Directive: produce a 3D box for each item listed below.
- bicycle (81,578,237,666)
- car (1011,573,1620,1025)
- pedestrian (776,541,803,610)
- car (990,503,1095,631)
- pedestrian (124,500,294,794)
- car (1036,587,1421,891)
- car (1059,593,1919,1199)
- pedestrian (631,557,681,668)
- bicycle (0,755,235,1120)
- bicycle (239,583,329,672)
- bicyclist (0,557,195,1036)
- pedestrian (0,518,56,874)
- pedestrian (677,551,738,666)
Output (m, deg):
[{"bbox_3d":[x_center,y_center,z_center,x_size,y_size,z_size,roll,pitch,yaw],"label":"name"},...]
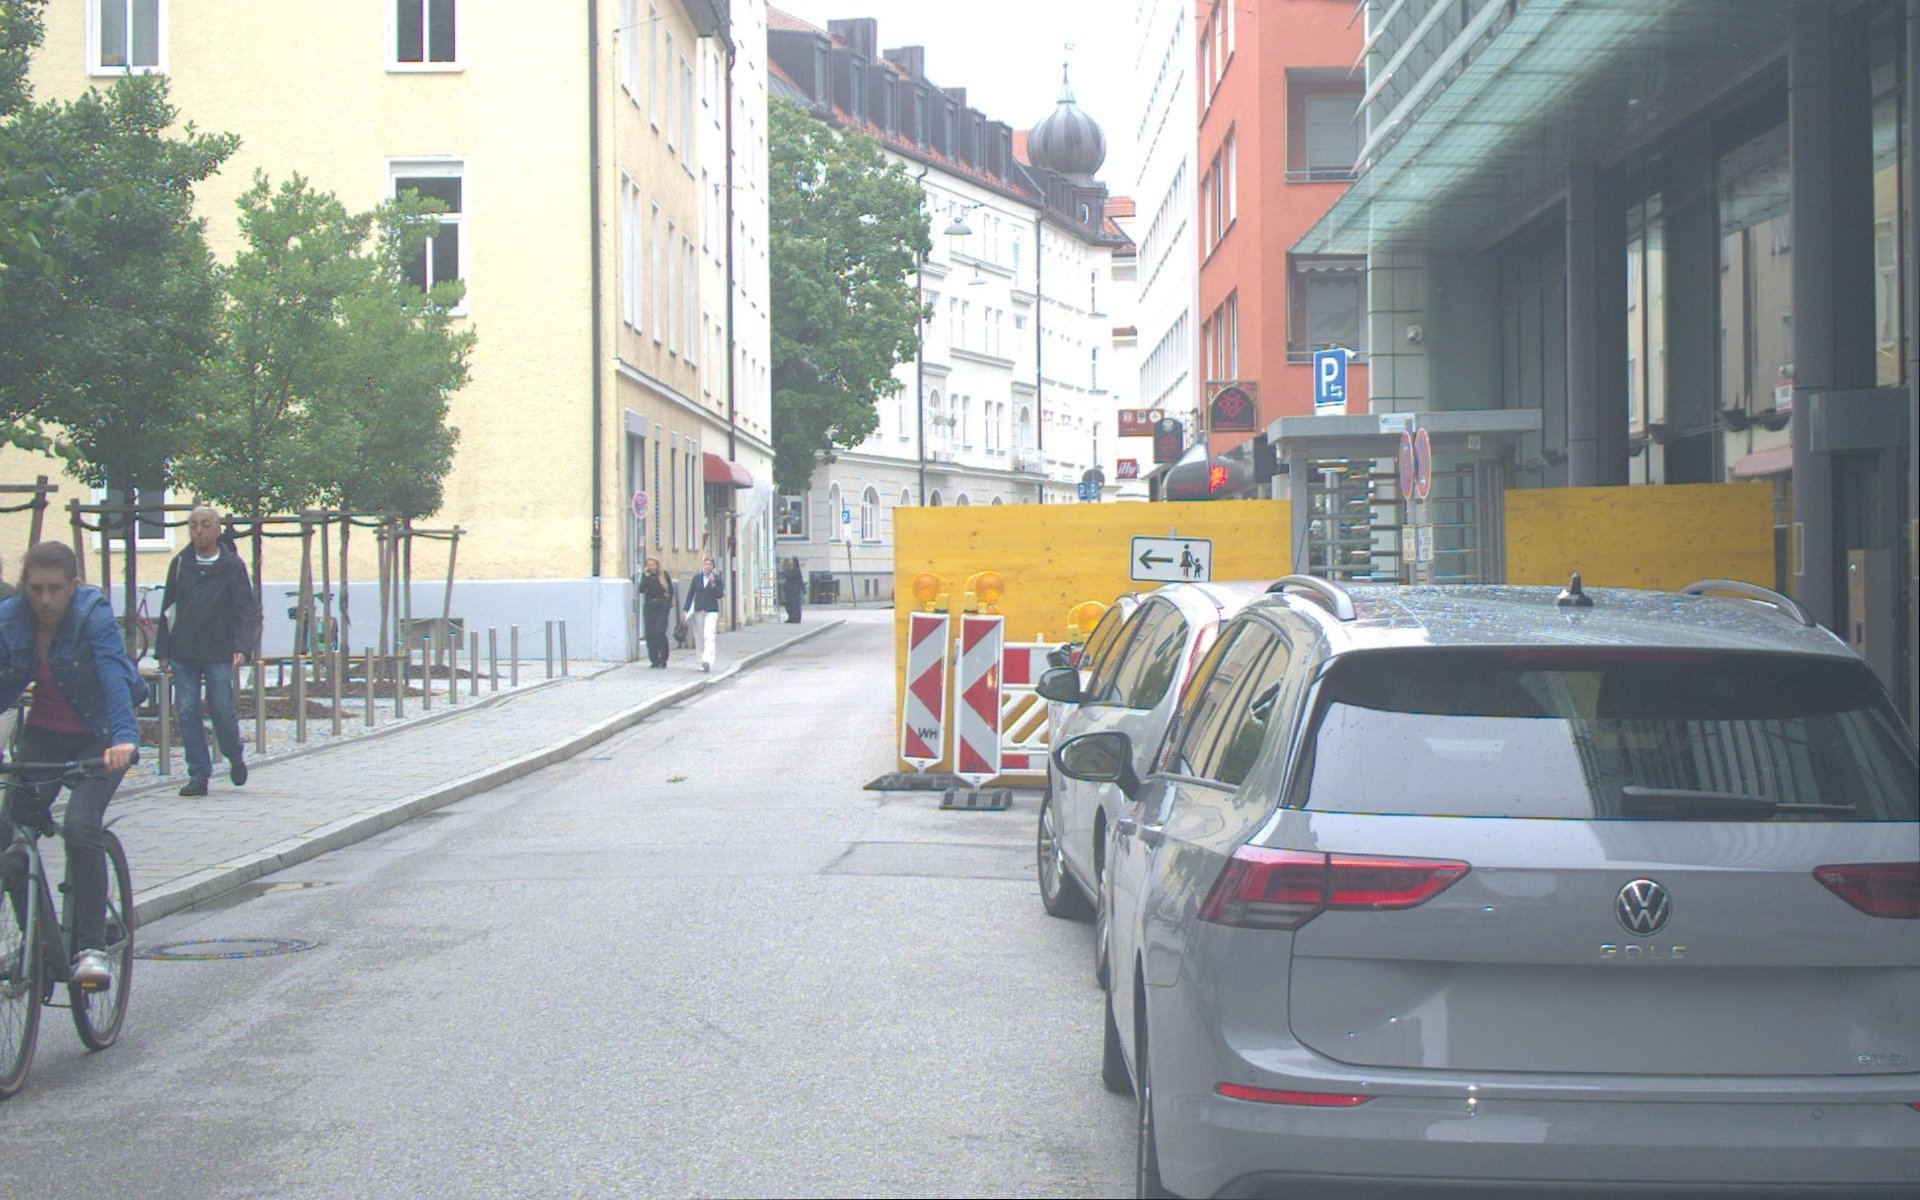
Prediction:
[{"bbox_3d":[-11.132,0.298,47.786,2.044,1.193,0.570,0,1,8],"label":"bicycle"},{"bbox_3d":[1.209,0.648,13.465,1.707,1.462,4.237,1,0,-3],"label":"car"},{"bbox_3d":[-4.146,-0.597,83.556,0.634,1.669,0.517,0,1,0],"label":"pedestrian"},{"bbox_3d":[1.663,-0.687,70.742,1.993,2.528,4.975,0,1,0],"label":"car"},{"bbox_3d":[-4.923,0.299,22.595,0.867,1.875,1.135,0,0,-1],"label":"pedestrian"},{"bbox_3d":[1.328,0.652,18.624,1.708,1.409,4.510,1,0,0],"label":"car"},{"bbox_3d":[1.166,0.714,8.171,1.708,1.427,4.329,0,0,0],"label":"car"},{"bbox_3d":[-4.529,0.186,51.218,0.670,1.642,0.761,0,0,0],"label":"pedestrian"},{"bbox_3d":[-2.735,0.972,10.352,0.707,0.902,1.809,-1,1,0],"label":"bicycle"},{"bbox_3d":[-8.970,0.350,45.670,0.510,1.141,2.051,1,1,8],"label":"bicycle"},{"bbox_3d":[-2.734,0.561,10.242,0.707,1.366,0.813,-1,0,0],"label":"bicyclist"},{"bbox_3d":[-4.754,0.445,16.478,0.647,1.671,0.724,0,0,-1],"label":"pedestrian"},{"bbox_3d":[-3.753,0.119,51.095,0.839,1.695,0.803,0,0,0],"label":"pedestrian"}]
